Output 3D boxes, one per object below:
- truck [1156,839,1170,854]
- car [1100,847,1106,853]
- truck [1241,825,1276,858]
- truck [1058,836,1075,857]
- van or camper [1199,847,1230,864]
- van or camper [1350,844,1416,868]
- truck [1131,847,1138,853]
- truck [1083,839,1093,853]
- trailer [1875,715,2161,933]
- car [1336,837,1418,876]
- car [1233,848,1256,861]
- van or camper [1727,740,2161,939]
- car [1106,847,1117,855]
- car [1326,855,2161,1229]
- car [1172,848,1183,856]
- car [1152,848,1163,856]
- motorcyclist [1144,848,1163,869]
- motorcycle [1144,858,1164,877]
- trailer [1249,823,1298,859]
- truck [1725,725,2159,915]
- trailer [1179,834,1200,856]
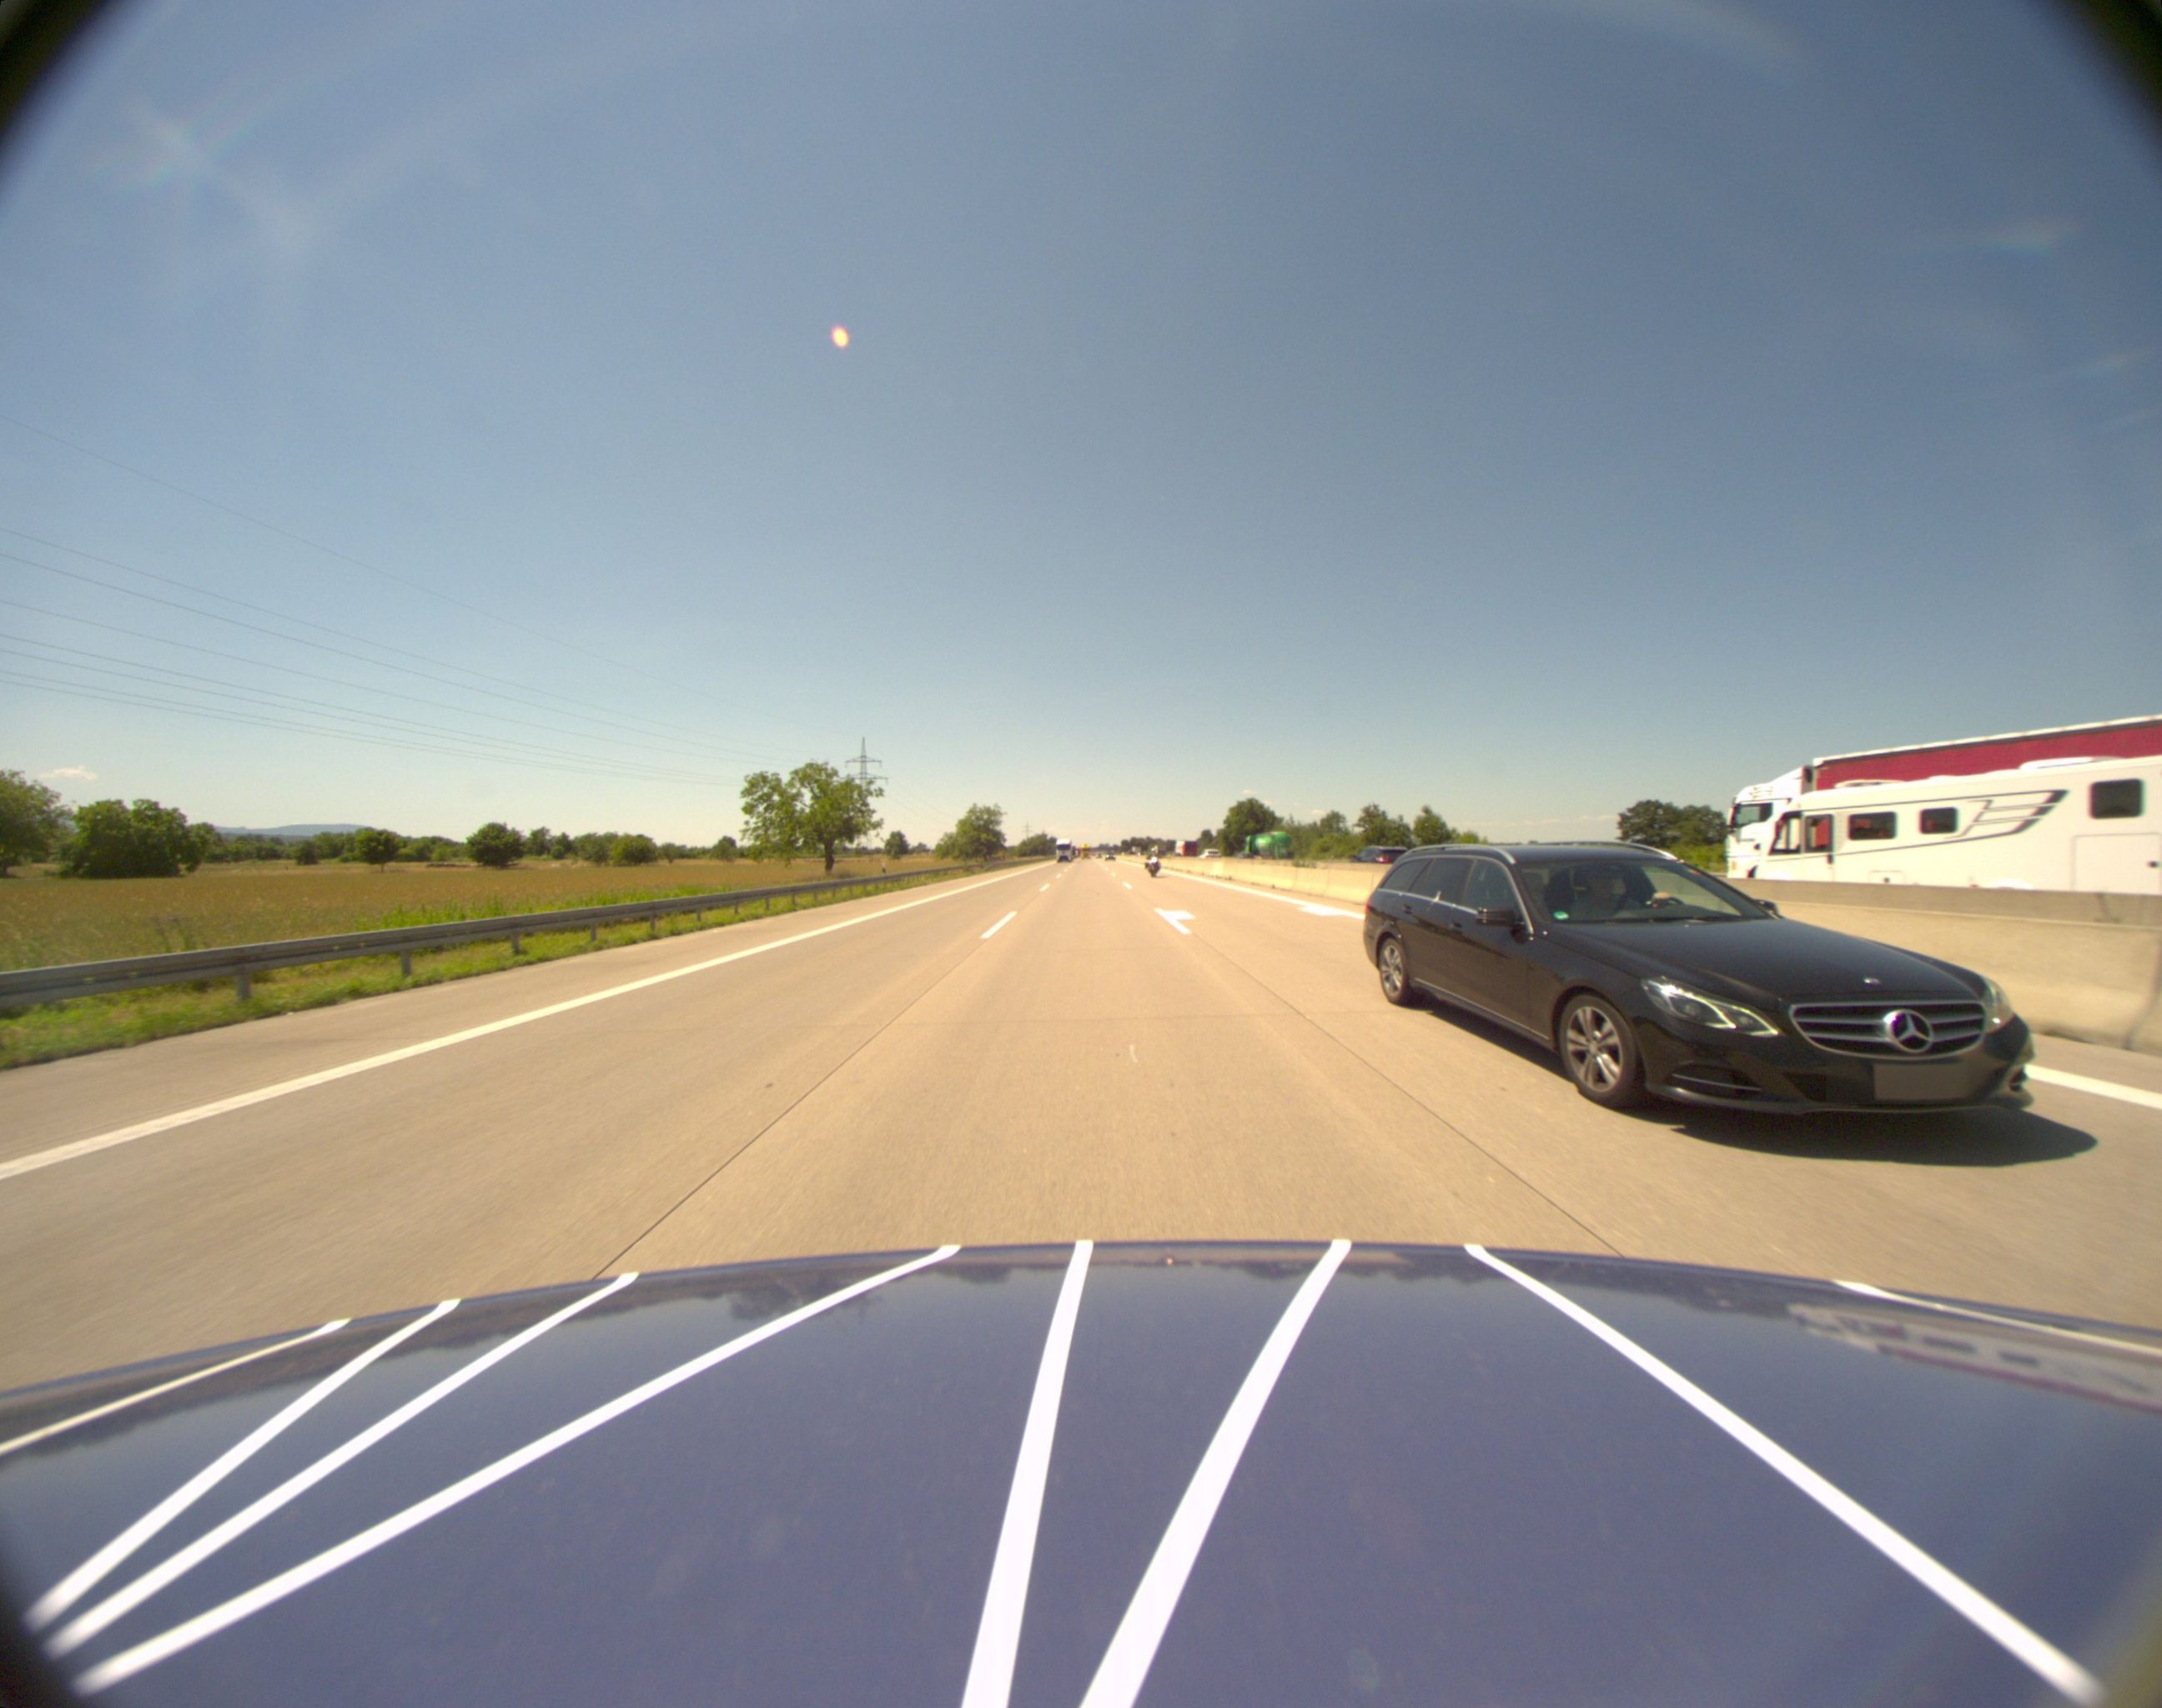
[{"bbox_3d":[23.441,-2.250,216.665,3.240,4.150,8.128,-1,0,1],"label":"truck"},{"bbox_3d":[6.298,-1.200,215.525,1.586,1.527,3.611,0,0,1],"label":"car"},{"bbox_3d":[21.969,-1.506,94.405,2.751,3.860,6.203,-1,1,-1],"label":"truck"},{"bbox_3d":[-2.498,-1.280,135.562,2.570,3.514,10.099,-1,0,1],"label":"truck"},{"bbox_3d":[13.837,0.091,79.046,2.247,1.683,5.849,0,0,1],"label":"van or camper"},{"bbox_3d":[21.707,0.133,54.902,2.371,1.612,6.091,-1,0,0],"label":"van or camper"},{"bbox_3d":[15.776,-1.107,224.791,1.867,1.750,3.950,-1,0,1],"label":"truck"},{"bbox_3d":[2.023,-2.235,207.631,2.570,3.711,10.099,-1,0,1],"label":"truck"},{"bbox_3d":[21.117,-0.560,12.679,3.007,3.959,12.341,-1,0,1],"label":"trailer"},{"bbox_3d":[12.643,0.106,32.759,1.798,1.546,4.601,-1,0,1],"label":"car"},{"bbox_3d":[17.518,0.008,81.531,1.700,1.325,4.000,-1,0,1],"label":"car"},{"bbox_3d":[16.875,-0.237,14.390,2.532,2.873,7.936,-1,0,0],"label":"van or camper"},{"bbox_3d":[5.610,-0.515,139.387,1.998,1.518,4.000,0,0,1],"label":"car"},{"bbox_3d":[3.735,0.780,5.906,1.895,1.465,5.603,-1,0,1],"label":"car"},{"bbox_3d":[18.329,-0.348,144.566,1.628,1.392,4.546,-1,0,1],"label":"car"},{"bbox_3d":[14.204,-0.348,141.799,1.720,1.392,3.807,-1,0,1],"label":"car"},{"bbox_3d":[4.223,0.240,44.371,1.027,1.202,0.911,-1,1,3],"label":"motorcyclist"},{"bbox_3d":[4.256,0.771,44.533,1.023,1.042,2.413,-1,0,3],"label":"motorcycle"},{"bbox_3d":[22.029,-1.418,87.711,2.742,3.855,11.103,-1,0,0],"label":"trailer"},{"bbox_3d":[21.199,-0.719,19.637,3.007,3.959,7.294,-1,0,1],"label":"truck"},{"bbox_3d":[22.873,-1.903,160.732,2.809,4.511,13.233,-1,0,1],"label":"trailer"}]
